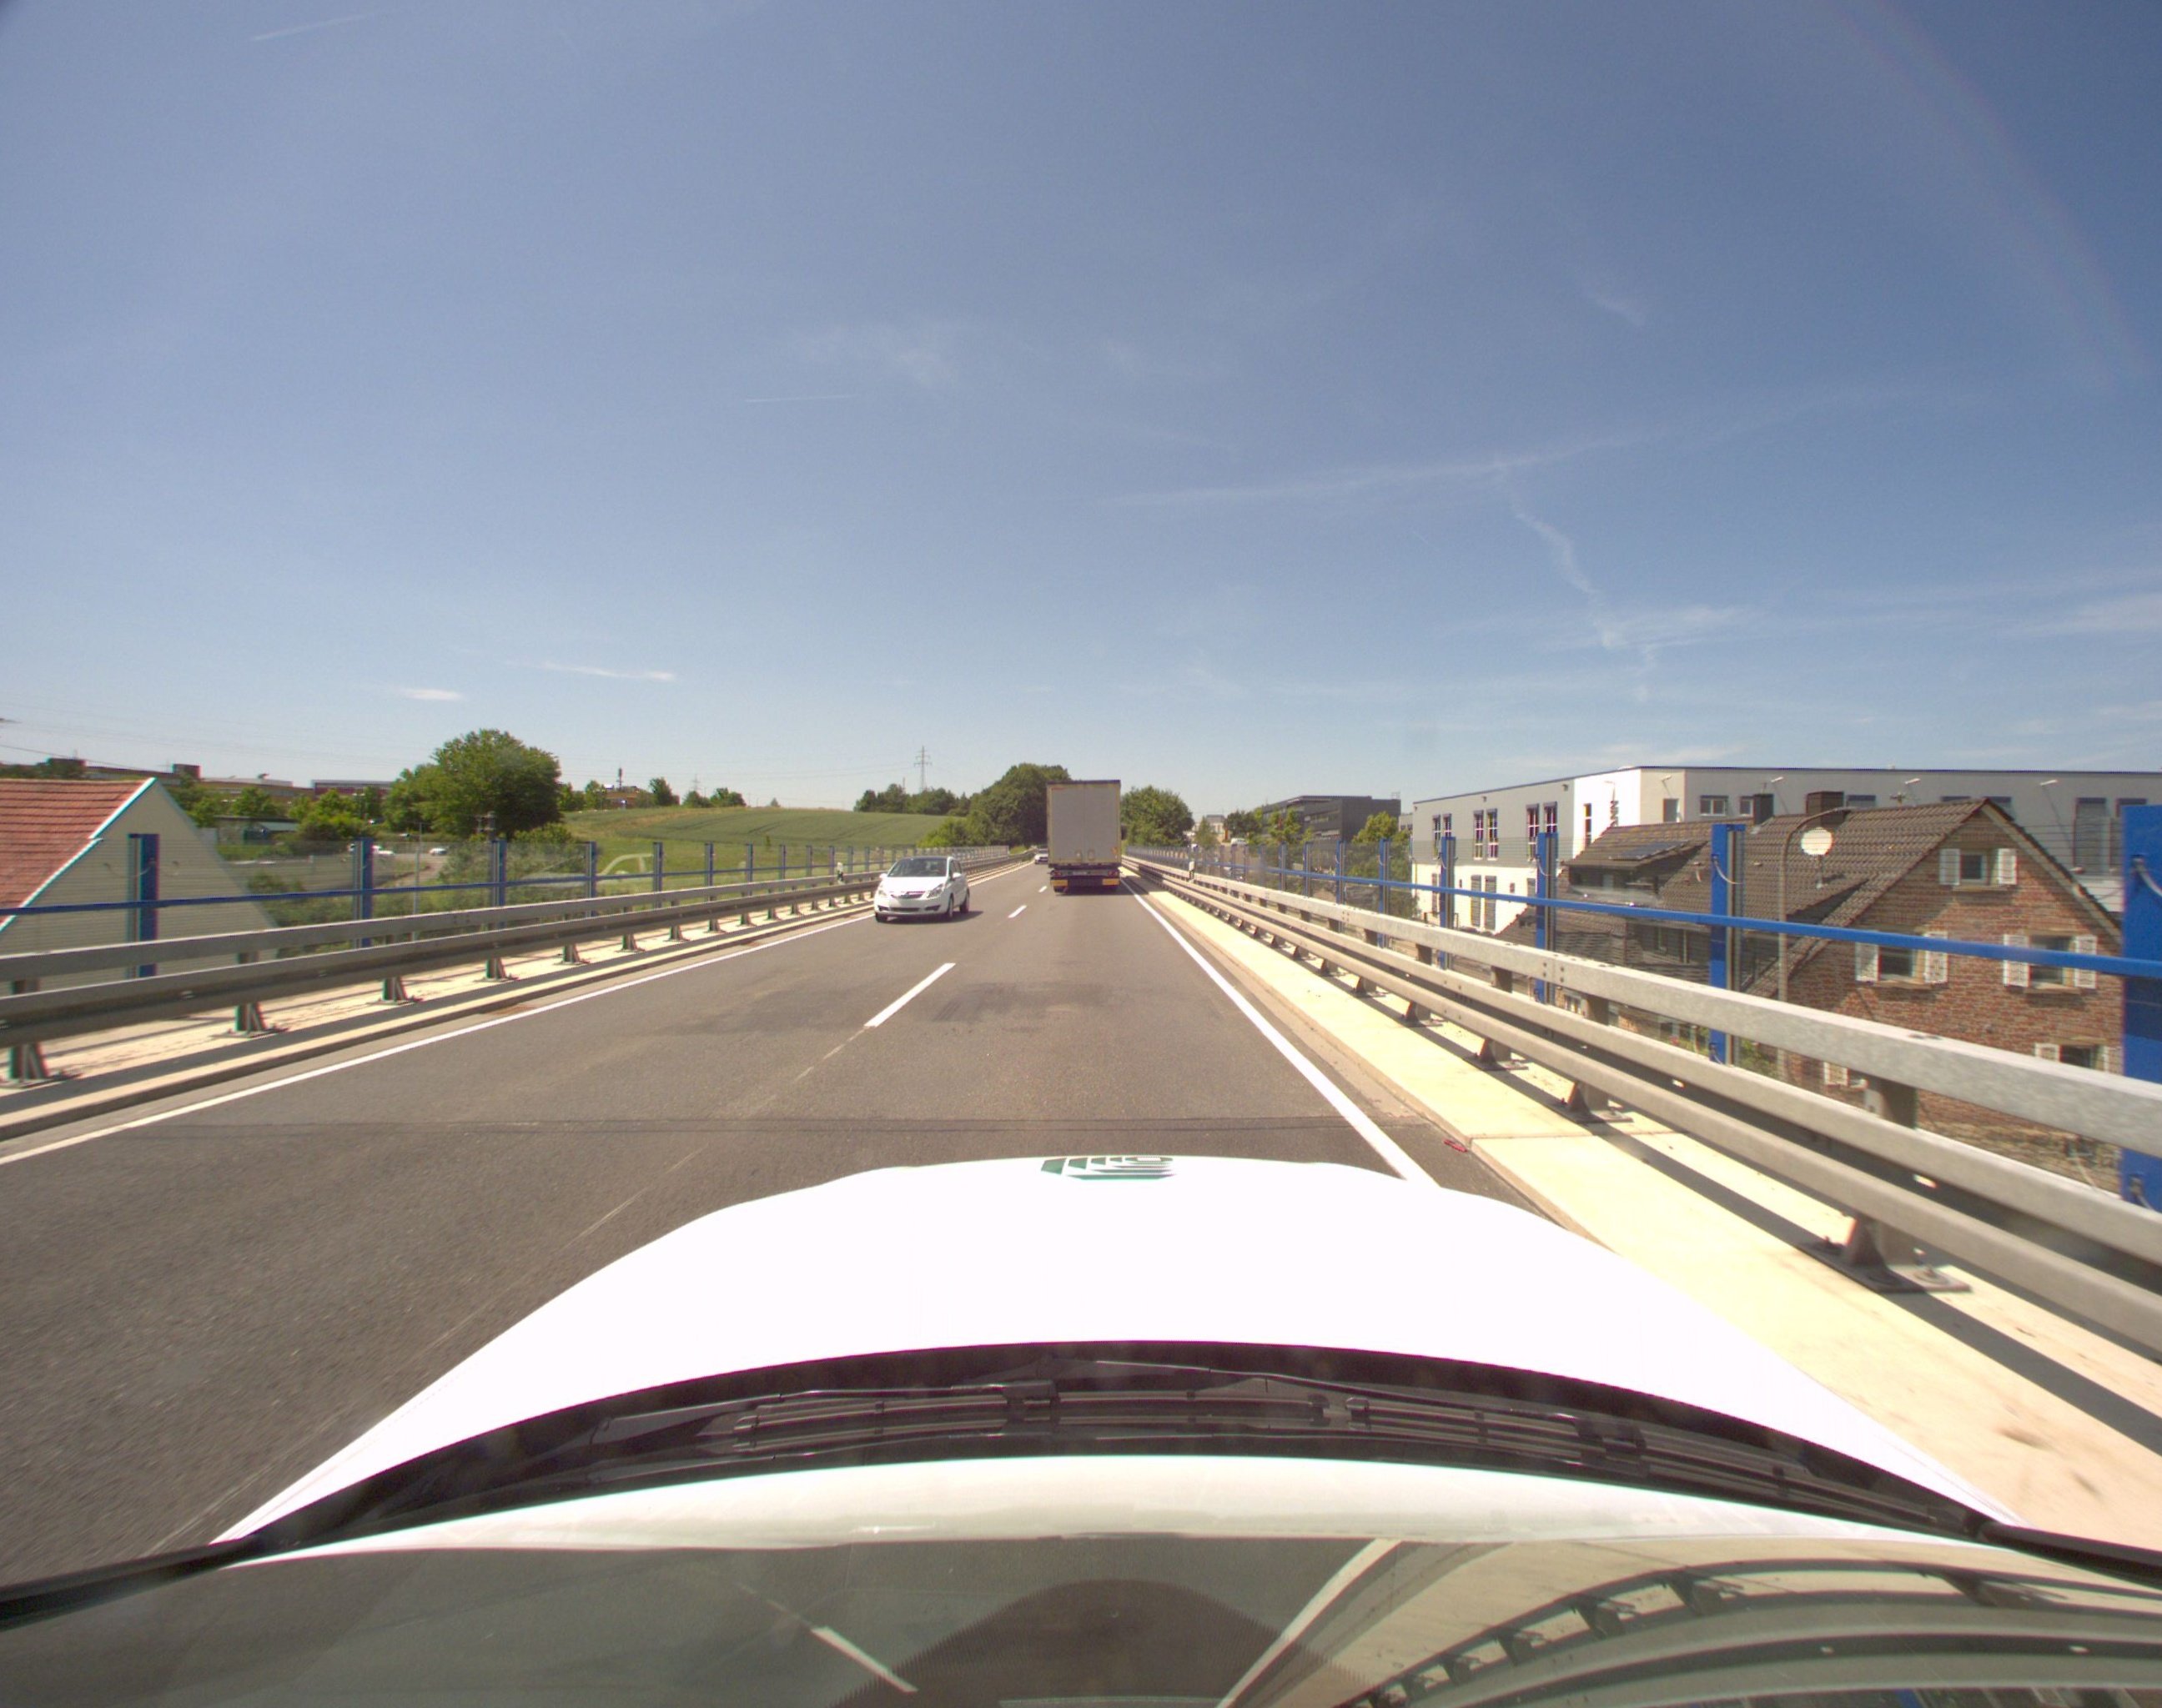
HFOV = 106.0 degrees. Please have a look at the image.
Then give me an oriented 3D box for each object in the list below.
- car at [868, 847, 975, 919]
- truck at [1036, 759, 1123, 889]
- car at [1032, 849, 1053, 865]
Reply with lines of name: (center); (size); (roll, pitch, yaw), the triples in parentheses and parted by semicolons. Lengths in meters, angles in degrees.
car: (-3.695, 0.641, 19.566); (1.701, 1.505, 4.119); (-1, 0, 1)
truck: (-0.056, -0.955, 32.532); (2.857, 4.359, 9.786); (-1, -1, 0)
car: (-3.587, 0.247, 77.298); (1.775, 1.435, 4.833); (-1, 0, 0)
